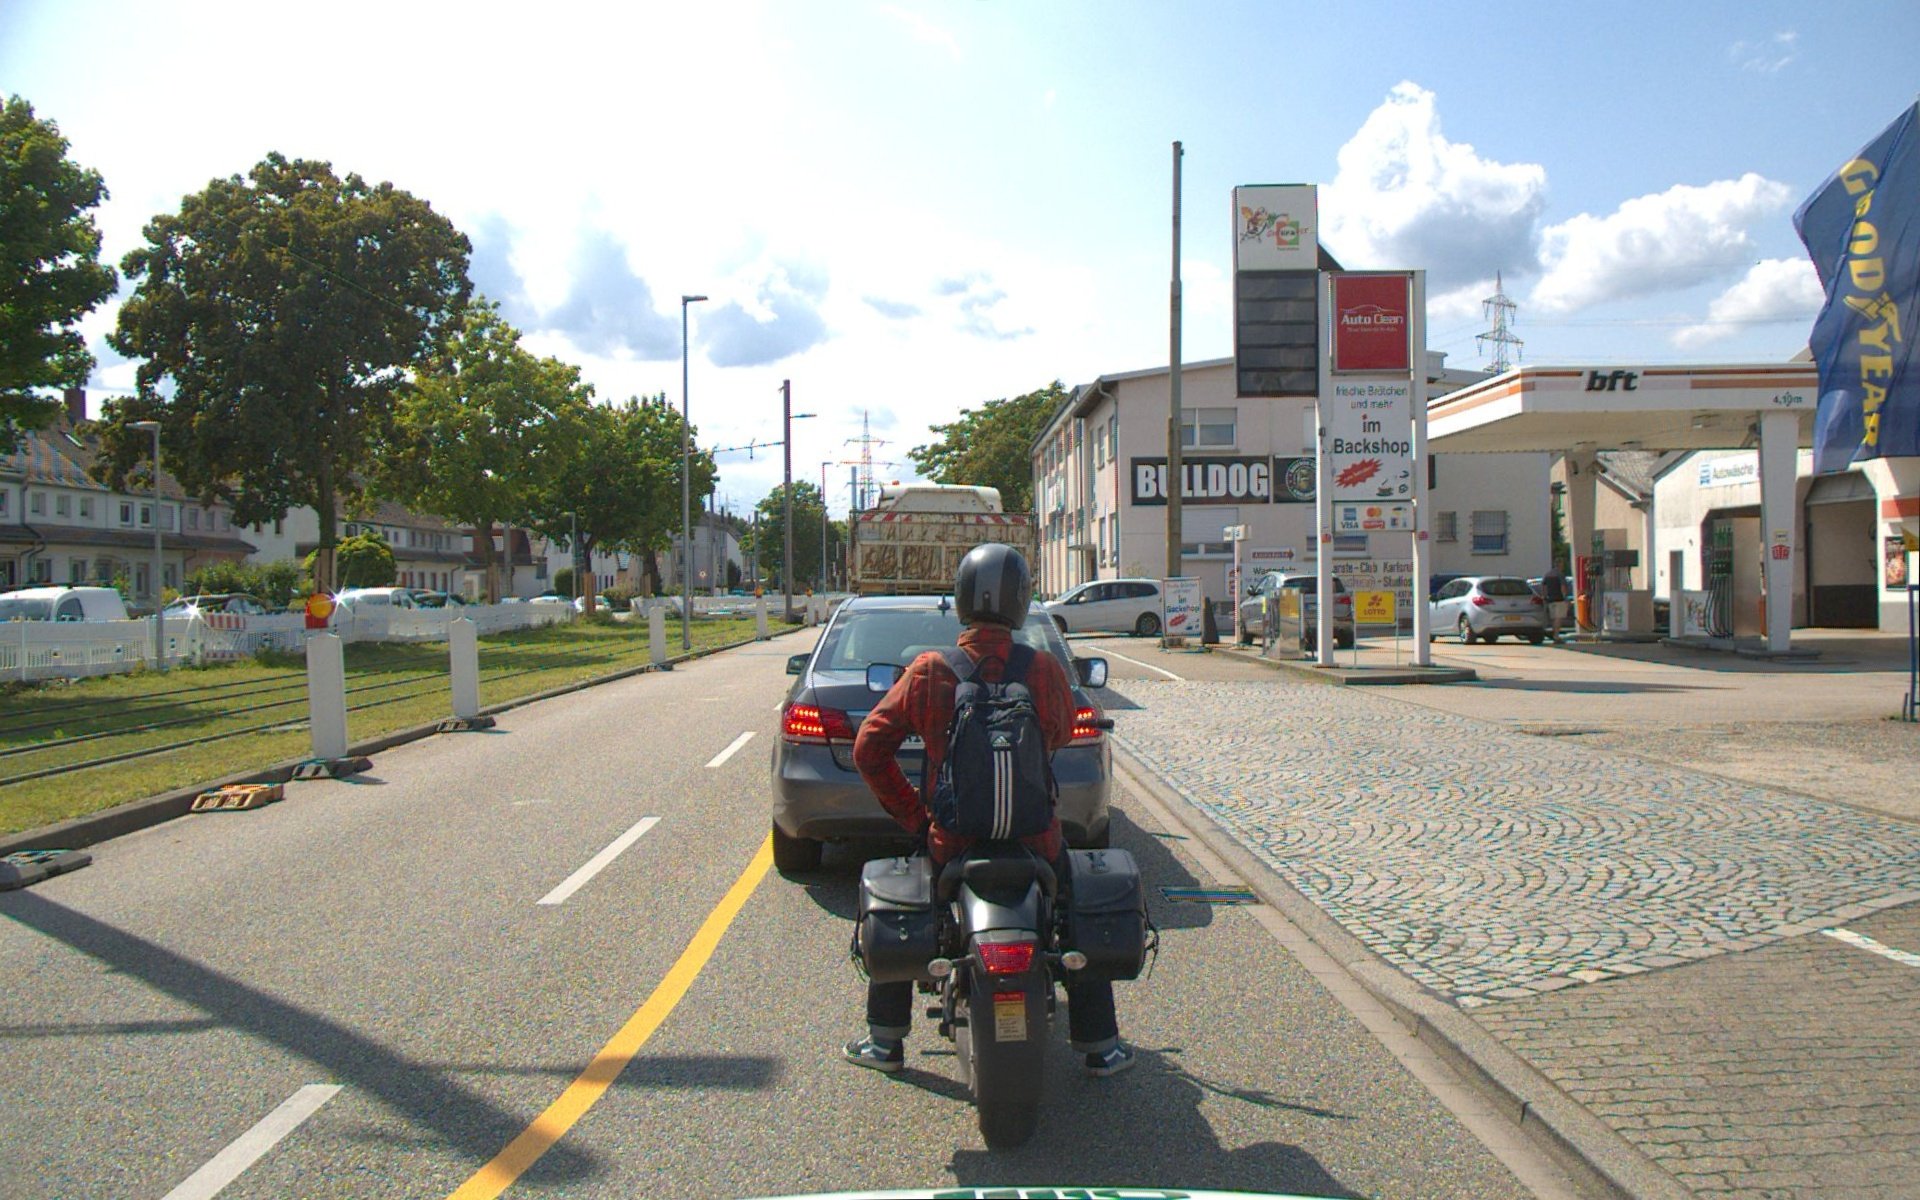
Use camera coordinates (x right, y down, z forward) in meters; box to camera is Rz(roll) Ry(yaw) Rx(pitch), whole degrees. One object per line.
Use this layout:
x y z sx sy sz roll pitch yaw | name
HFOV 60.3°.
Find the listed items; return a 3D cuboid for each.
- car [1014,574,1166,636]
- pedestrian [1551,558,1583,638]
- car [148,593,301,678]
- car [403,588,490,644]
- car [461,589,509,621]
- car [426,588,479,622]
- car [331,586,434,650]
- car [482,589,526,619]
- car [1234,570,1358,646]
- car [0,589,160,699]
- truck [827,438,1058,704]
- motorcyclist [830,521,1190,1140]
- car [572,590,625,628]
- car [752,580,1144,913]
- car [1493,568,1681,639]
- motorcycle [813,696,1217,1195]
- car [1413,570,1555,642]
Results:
3.669 0.125 47.075 4.029 1.652 1.682 -1 0 -9 | car
13.134 -0.041 35.783 0.621 1.712 0.622 -1 0 20 | pedestrian
-16.674 0.761 37.709 1.664 1.770 4.053 -1 0 -1 | car
-17.020 0.503 54.973 1.664 1.770 3.860 -1 0 -1 | car
-28.060 0.272 97.897 1.664 1.770 4.061 -1 0 -1 | car
-28.181 0.254 91.927 1.664 1.770 4.061 -1 0 -1 | car
-16.903 0.498 48.607 1.664 1.770 3.860 -1 0 -1 | car
-28.664 0.241 104.140 1.664 1.770 4.061 -1 0 -1 | car
7.400 0.149 36.746 1.795 1.562 4.008 -1 0 -2 | car
-16.419 0.747 30.286 1.664 1.849 3.860 -1 0 -1 | car
-0.357 -0.418 25.460 2.910 3.362 8.404 -1 0 -2 | truck
0.127 0.619 5.067 0.950 1.662 1.214 1 0 -1 | motorcyclist
-17.348 0.413 79.543 1.664 1.770 3.860 -1 0 -1 | car
-0.115 0.663 9.708 1.795 1.505 4.008 -1 0 -2 | car
15.412 0.096 40.726 4.037 1.652 1.679 -1 0 37 | car
0.116 0.901 5.185 0.956 1.031 2.431 1 0 -1 | motorcycle
11.771 0.109 37.411 1.795 1.505 4.008 -1 0 -2 | car
